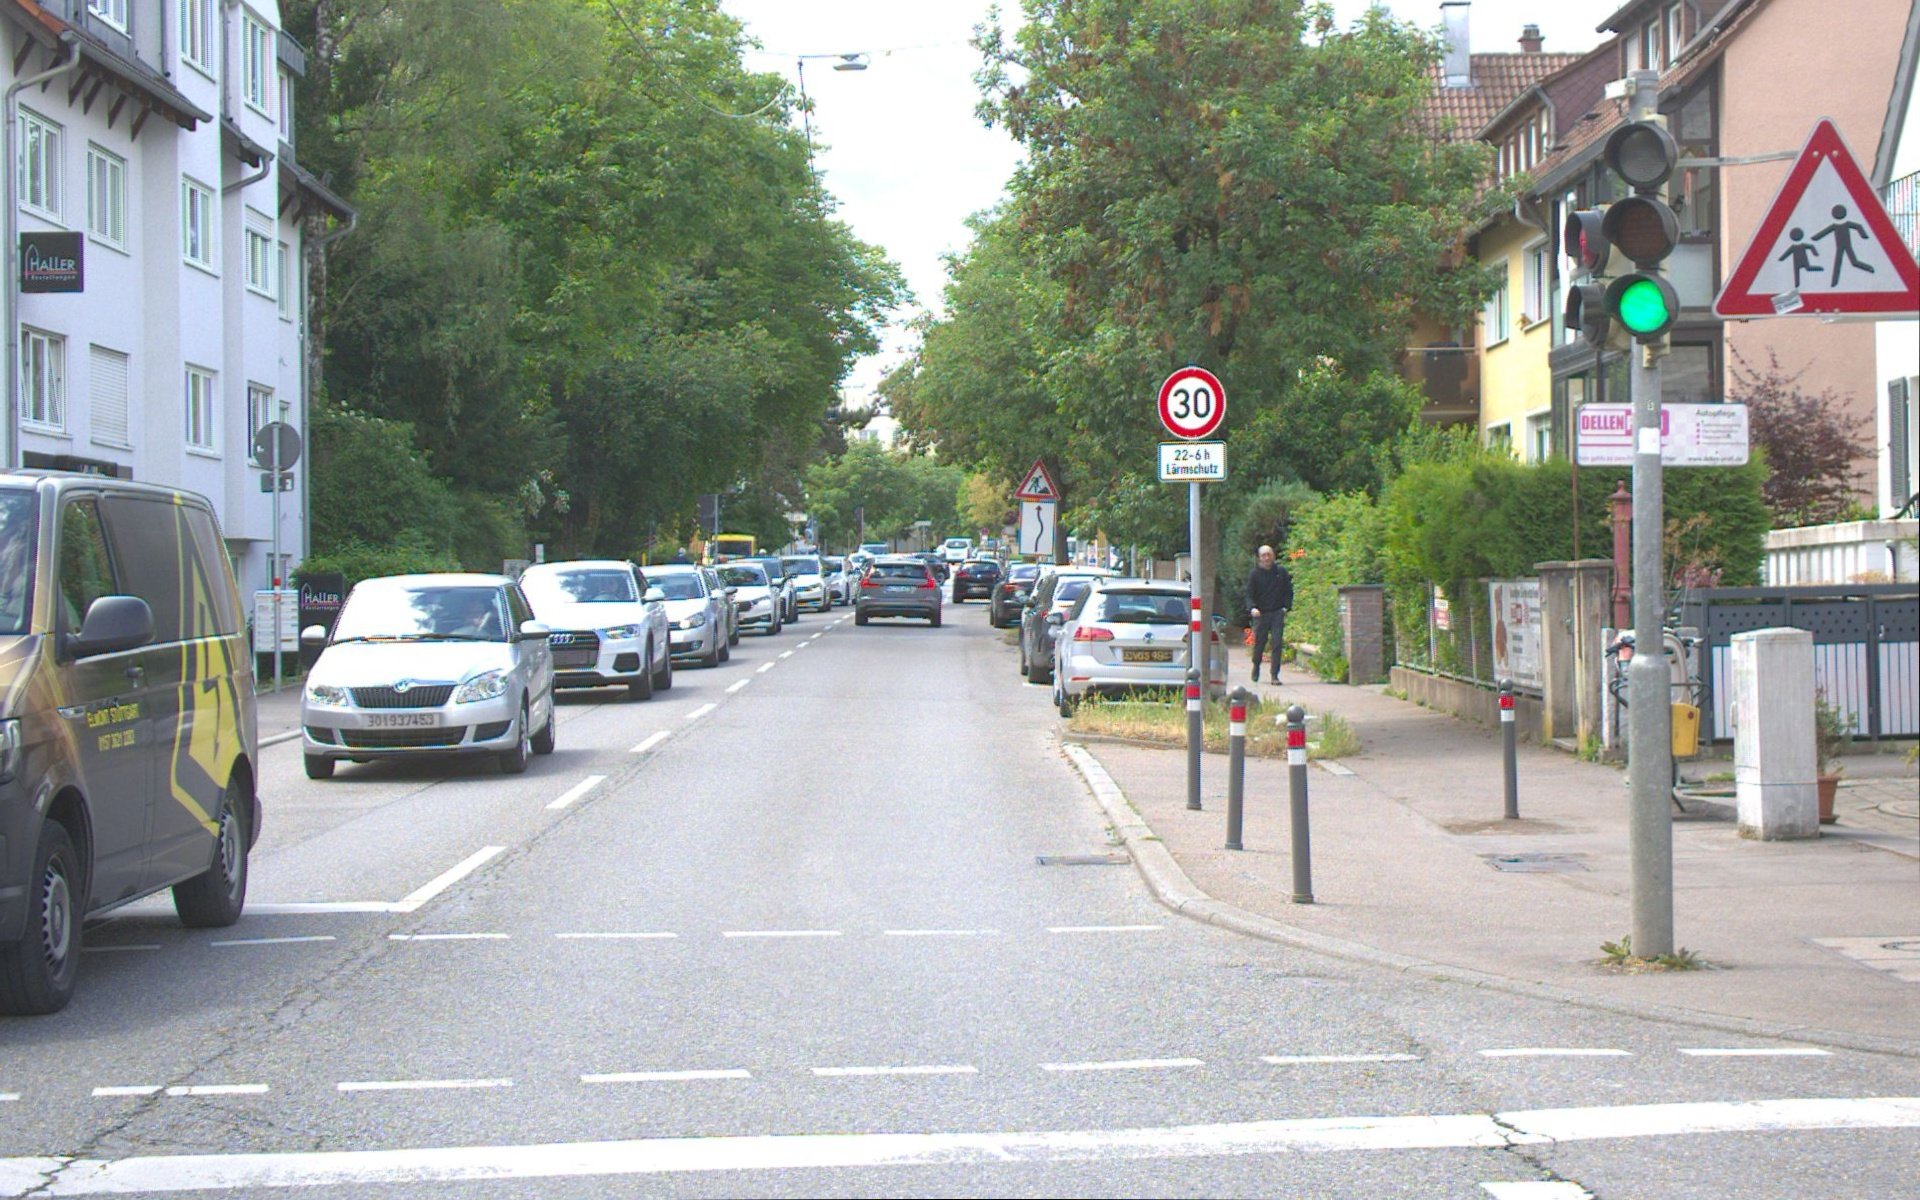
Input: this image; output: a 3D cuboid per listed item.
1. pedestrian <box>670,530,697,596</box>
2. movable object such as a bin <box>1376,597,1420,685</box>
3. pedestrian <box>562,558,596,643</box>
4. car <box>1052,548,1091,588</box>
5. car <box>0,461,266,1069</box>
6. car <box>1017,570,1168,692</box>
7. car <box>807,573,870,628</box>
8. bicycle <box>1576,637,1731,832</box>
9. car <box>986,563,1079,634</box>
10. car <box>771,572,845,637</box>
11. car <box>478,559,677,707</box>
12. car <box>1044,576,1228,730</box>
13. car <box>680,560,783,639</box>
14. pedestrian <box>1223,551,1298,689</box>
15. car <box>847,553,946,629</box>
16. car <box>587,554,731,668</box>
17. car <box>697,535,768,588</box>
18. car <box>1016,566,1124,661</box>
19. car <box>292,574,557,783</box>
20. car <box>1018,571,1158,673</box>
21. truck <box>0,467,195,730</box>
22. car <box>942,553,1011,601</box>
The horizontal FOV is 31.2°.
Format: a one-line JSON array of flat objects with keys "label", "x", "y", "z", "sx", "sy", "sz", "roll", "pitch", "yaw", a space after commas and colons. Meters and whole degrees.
[{"label": "pedestrian", "x": -7.387, "y": -0.982, "z": 91.878, "sx": 0.714, "sy": 1.756, "sz": 1.122, "roll": 0, "pitch": 0, "yaw": -5}, {"label": "movable object such as a bin", "x": 5.406, "y": 0.508, "z": 42.428, "sx": 0.523, "sy": 1.077, "sz": 0.604, "roll": 0, "pitch": 0, "yaw": 5}, {"label": "pedestrian", "x": -7.440, "y": 0.013, "z": 67.155, "sx": 0.653, "sy": 1.661, "sz": 0.932, "roll": 0, "pitch": 0, "yaw": -5}, {"label": "car", "x": 5.678, "y": -1.641, "z": 175.691, "sx": 1.993, "sy": 2.007, "sz": 4.000, "roll": 0, "pitch": 0, "yaw": 2}, {"label": "car", "x": -3.989, "y": 0.487, "z": 13.116, "sx": 1.877, "sy": 1.906, "sz": 4.752, "roll": 0, "pitch": 1, "yaw": -2}, {"label": "car", "x": 1.711, "y": 0.367, "z": 45.639, "sx": 1.734, "sy": 1.424, "sz": 4.883, "roll": 3, "pitch": 1, "yaw": 0}, {"label": "car", "x": -3.783, "y": -0.011, "z": 107.552, "sx": 1.785, "sy": 1.586, "sz": 4.154, "roll": -2, "pitch": 1, "yaw": 0}, {"label": "bicycle", "x": 4.370, "y": 0.821, "z": 21.792, "sx": 0.721, "sy": 1.146, "sz": 2.213, "roll": 0, "pitch": 0, "yaw": 5}, {"label": "car", "x": 1.569, "y": -0.058, "z": 75.782, "sx": 1.801, "sy": 1.440, "sz": 4.887, "roll": 2, "pitch": 1, "yaw": -1}, {"label": "car", "x": -4.198, "y": 0.108, "z": 95.543, "sx": 1.786, "sy": 1.642, "sz": 4.491, "roll": -2, "pitch": 1, "yaw": 0}, {"label": "car", "x": -4.359, "y": 0.342, "z": 39.759, "sx": 1.806, "sy": 1.566, "sz": 4.159, "roll": -2, "pitch": 1, "yaw": 0}, {"label": "car", "x": 1.835, "y": 0.518, "z": 37.118, "sx": 1.701, "sy": 1.475, "sz": 4.872, "roll": 1, "pitch": 1, "yaw": 0}, {"label": "car", "x": -4.515, "y": -0.030, "z": 68.424, "sx": 1.760, "sy": 1.434, "sz": 3.970, "roll": -2, "pitch": 1, "yaw": 0}, {"label": "pedestrian", "x": 3.763, "y": 0.249, "z": 43.165, "sx": 0.880, "sy": 1.707, "sz": 0.842, "roll": 0, "pitch": 0, "yaw": 1}, {"label": "car", "x": -1.365, "y": -0.213, "z": 75.354, "sx": 1.976, "sy": 1.508, "sz": 4.267, "roll": 3, "pitch": 1, "yaw": 0}, {"label": "car", "x": -4.327, "y": 0.125, "z": 49.921, "sx": 1.728, "sy": 1.497, "sz": 4.376, "roll": -2, "pitch": 1, "yaw": -1}, {"label": "car", "x": -8.621, "y": -1.440, "z": 130.601, "sx": 2.146, "sy": 1.974, "sz": 4.930, "roll": 0, "pitch": 0, "yaw": 2}, {"label": "car", "x": 1.792, "y": 0.195, "z": 56.946, "sx": 1.621, "sy": 1.502, "sz": 3.779, "roll": 0, "pitch": 1, "yaw": 0}, {"label": "car", "x": -4.051, "y": 0.544, "z": 26.477, "sx": 1.617, "sy": 1.481, "sz": 3.813, "roll": 0, "pitch": 1, "yaw": -3}, {"label": "car", "x": 1.879, "y": 0.300, "z": 51.546, "sx": 1.993, "sy": 1.418, "sz": 4.588, "roll": 0, "pitch": 1, "yaw": 1}, {"label": "truck", "x": -9.551, "y": -0.014, "z": 34.193, "sx": 2.224, "sy": 2.372, "sz": 6.325, "roll": 0, "pitch": 0, "yaw": 2}, {"label": "car", "x": 0.558, "y": -0.753, "z": 111.171, "sx": 1.816, "sy": 1.495, "sz": 4.266, "roll": 1, "pitch": 1, "yaw": 5}]
